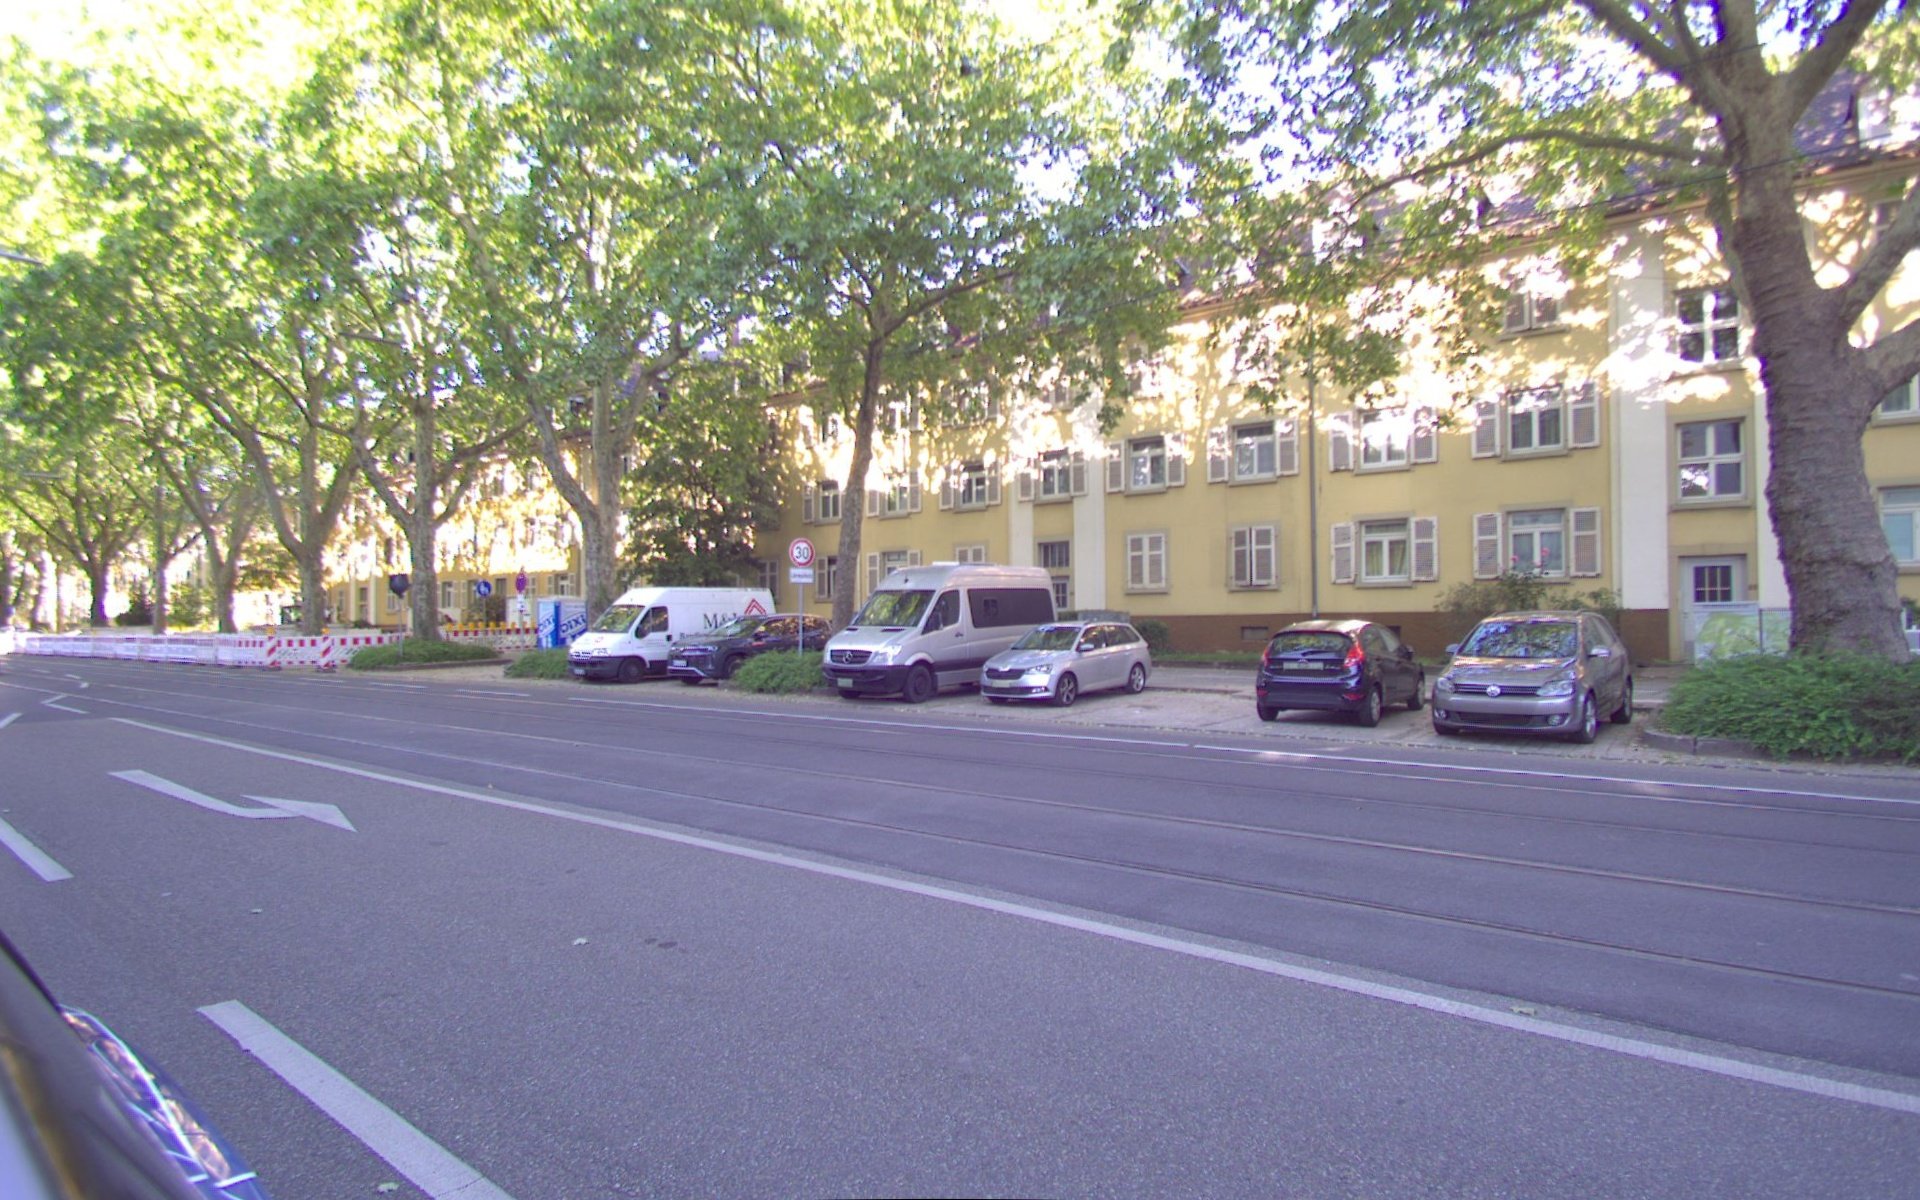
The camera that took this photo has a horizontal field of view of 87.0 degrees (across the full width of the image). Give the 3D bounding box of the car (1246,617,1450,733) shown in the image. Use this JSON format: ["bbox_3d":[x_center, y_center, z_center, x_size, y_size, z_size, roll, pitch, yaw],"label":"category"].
[{"bbox_3d":[5.991,1.024,15.405,1.693,1.457,3.811,-1,0,41],"label":"car"}]

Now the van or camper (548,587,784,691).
[{"bbox_3d":[-7.482,0.896,26.343,2.154,2.403,5.690,-1,0,40],"label":"van or camper"}]

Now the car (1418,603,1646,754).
[{"bbox_3d":[7.647,0.878,13.345,1.844,1.631,4.028,-1,0,41],"label":"car"}]

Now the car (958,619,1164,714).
[{"bbox_3d":[1.978,1.130,18.803,1.693,1.457,4.221,-1,0,41],"label":"car"}]

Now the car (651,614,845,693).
[{"bbox_3d":[-4.997,1.202,24.356,1.693,1.645,4.481,-1,0,41],"label":"car"}]

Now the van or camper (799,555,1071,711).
[{"bbox_3d":[-0.292,0.552,20.360,2.154,2.668,5.857,-1,0,40],"label":"van or camper"}]
